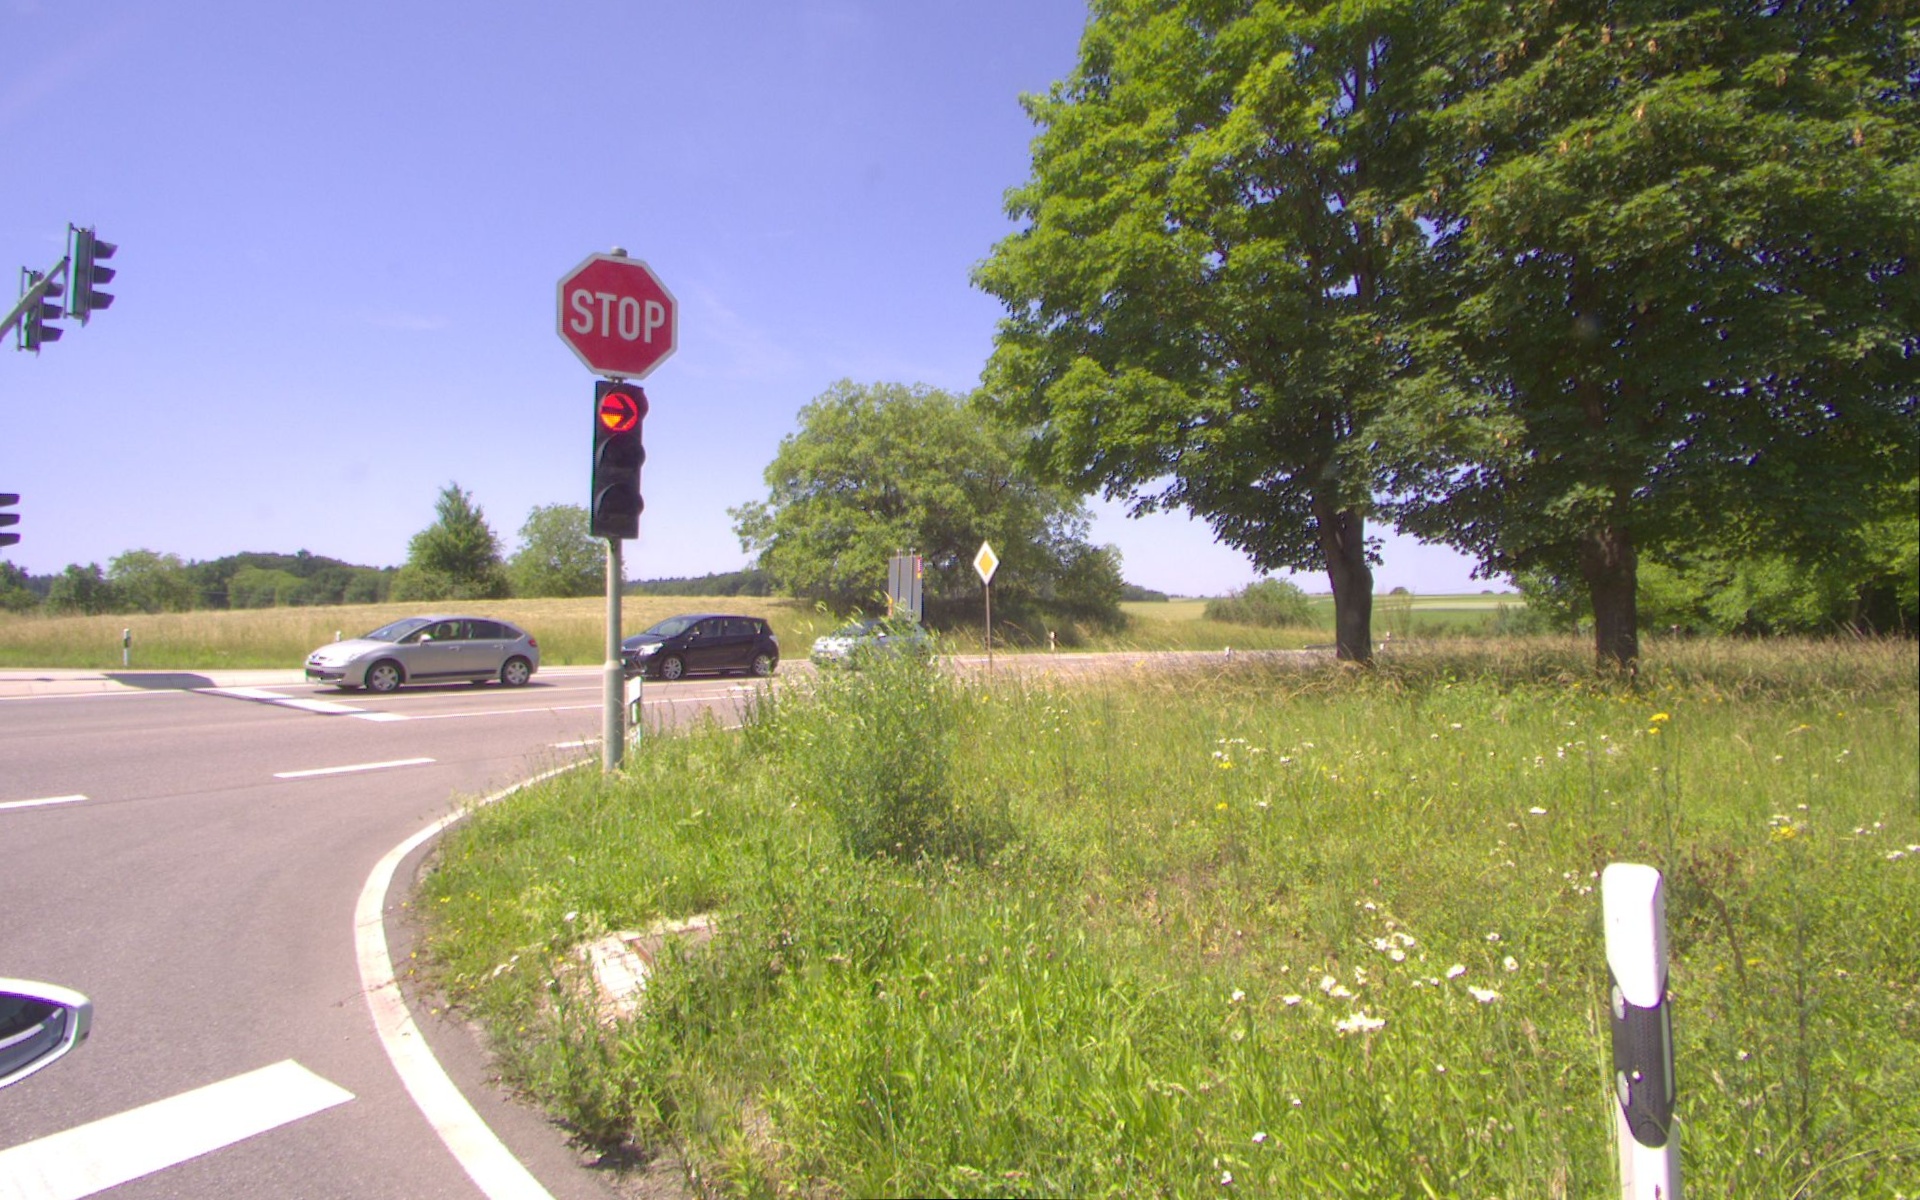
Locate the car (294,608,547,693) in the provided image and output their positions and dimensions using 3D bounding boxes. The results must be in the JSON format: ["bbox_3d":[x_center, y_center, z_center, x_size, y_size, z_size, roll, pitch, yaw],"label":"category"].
[{"bbox_3d":[-10.707,0.967,20.154,1.707,1.489,4.143,2,0,37],"label":"car"}]

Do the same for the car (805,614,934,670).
[{"bbox_3d":[-2.750,1.295,31.111,1.635,1.573,3.991,2,0,40],"label":"car"}]

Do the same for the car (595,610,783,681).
[{"bbox_3d":[-6.695,1.103,25.123,1.708,1.573,4.350,2,0,40],"label":"car"}]
